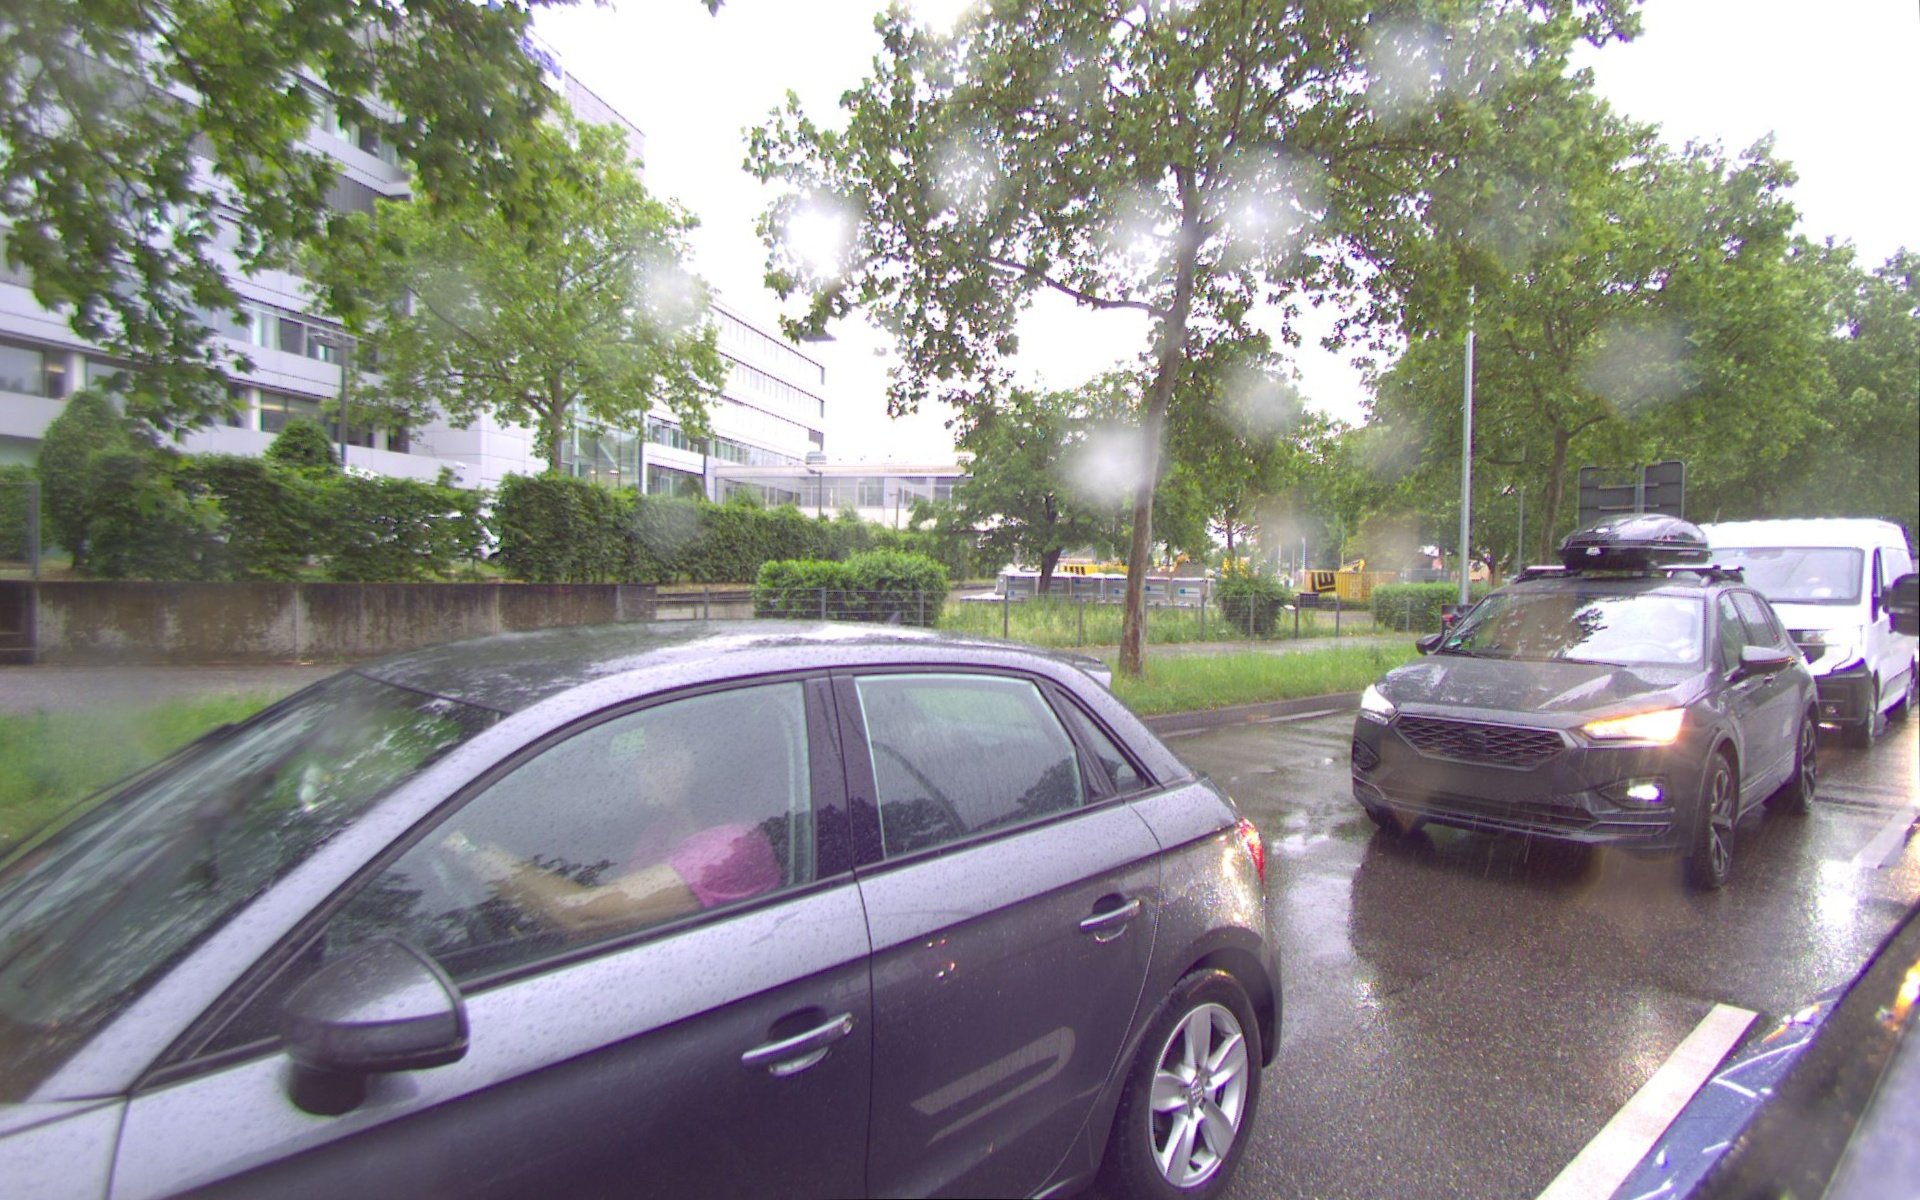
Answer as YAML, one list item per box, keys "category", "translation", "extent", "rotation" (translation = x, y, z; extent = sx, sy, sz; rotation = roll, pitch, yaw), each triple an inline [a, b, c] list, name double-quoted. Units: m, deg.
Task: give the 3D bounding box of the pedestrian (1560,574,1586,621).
- category: "pedestrian"
  translation: [22.759, -0.087, 37.554]
  extent: [0.645, 1.738, 0.645]
  rotation: [0, 0, -40]

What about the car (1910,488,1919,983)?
- category: "car"
  translation: [6.324, 0.185, 4.959]
  extent: [5.599, 2.544, 2.024]
  rotation: [0, 1, -43]

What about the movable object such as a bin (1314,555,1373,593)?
- category: "movable object such as a bin"
  translation: [35.999, -2.438, 94.986]
  extent: [4.907, 3.478, 1.894]
  rotation: [0, 0, 36]

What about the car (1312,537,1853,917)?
- category: "car"
  translation: [4.338, 0.550, 6.737]
  extent: [4.347, 1.719, 1.892]
  rotation: [0, 1, -42]

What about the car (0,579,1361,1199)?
- category: "car"
  translation: [-0.858, 0.691, 2.161]
  extent: [3.715, 1.446, 1.679]
  rotation: [0, 1, -41]

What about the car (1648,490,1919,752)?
- category: "car"
  translation: [10.051, 0.175, 12.058]
  extent: [5.227, 2.476, 1.892]
  rotation: [0, 1, -43]
